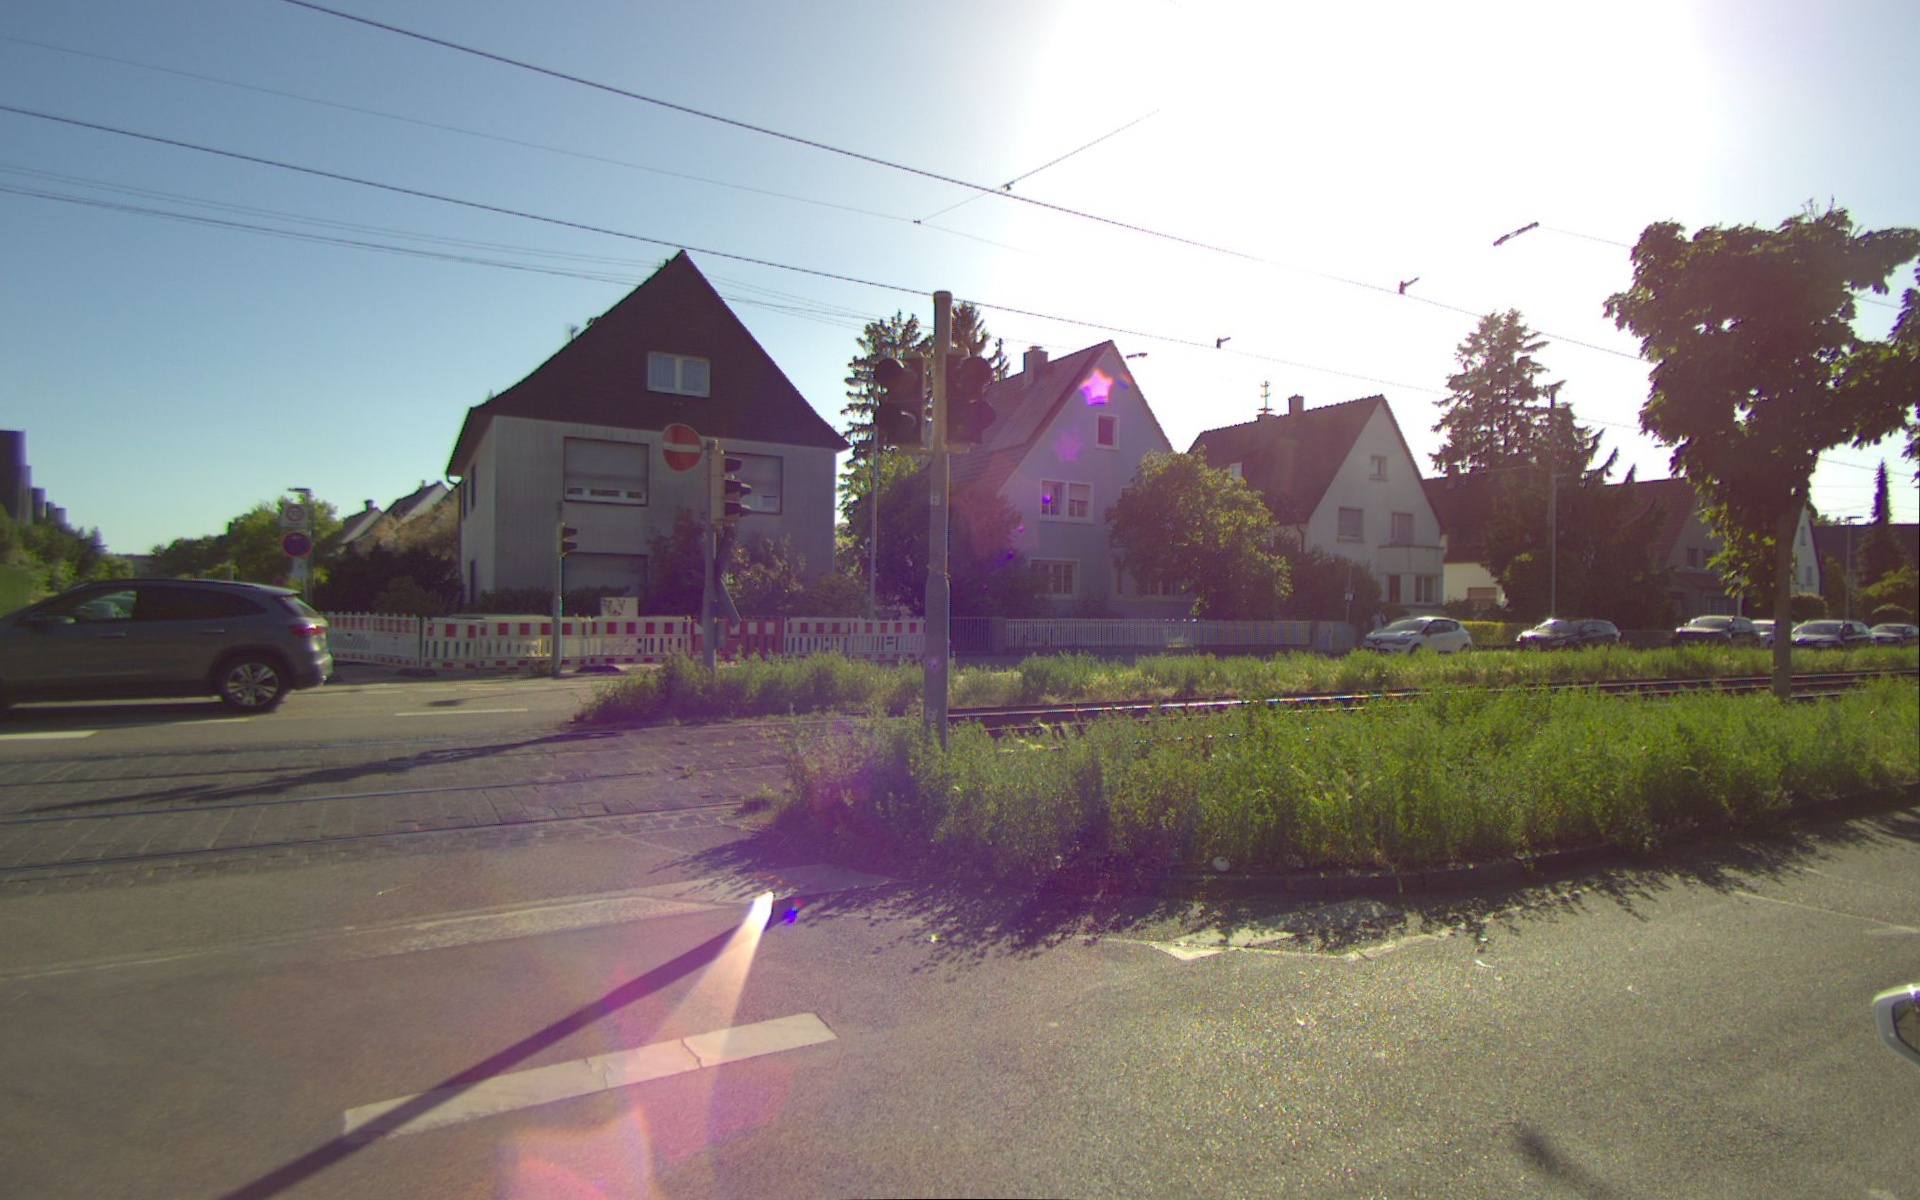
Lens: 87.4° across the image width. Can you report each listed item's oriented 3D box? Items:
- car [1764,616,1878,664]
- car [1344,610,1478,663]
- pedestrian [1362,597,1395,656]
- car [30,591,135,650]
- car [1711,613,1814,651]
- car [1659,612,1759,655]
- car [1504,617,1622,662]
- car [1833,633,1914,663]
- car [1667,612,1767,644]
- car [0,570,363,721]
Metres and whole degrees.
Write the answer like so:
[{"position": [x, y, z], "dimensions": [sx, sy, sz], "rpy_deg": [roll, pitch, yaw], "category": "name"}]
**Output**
[{"position": [31.262, 1.435, 36.433], "dimensions": [4.754, 1.573, 1.652], "rpy_deg": [1, 1, -31], "category": "car"}, {"position": [14.576, 1.159, 32.409], "dimensions": [4.179, 1.562, 1.850], "rpy_deg": [1, 1, -31], "category": "car"}, {"position": [14.735, 0.918, 35.370], "dimensions": [0.763, 2.041, 0.677], "rpy_deg": [1, 1, -30], "category": "pedestrian"}, {"position": [-26.663, 0.585, 30.646], "dimensions": [1.724, 1.570, 3.965], "rpy_deg": [1, 1, -31], "category": "car"}, {"position": [36.232, 1.450, 45.328], "dimensions": [4.723, 1.566, 1.984], "rpy_deg": [1, 1, -30], "category": "car"}, {"position": [31.414, 1.400, 42.117], "dimensions": [4.502, 1.673, 1.739], "rpy_deg": [1, 1, -31], "category": "car"}, {"position": [22.174, 1.437, 36.885], "dimensions": [4.549, 1.485, 1.720], "rpy_deg": [1, 1, -31], "category": "car"}, {"position": [46.159, 2.395, 50.738], "dimensions": [4.179, 1.388, 1.850], "rpy_deg": [1, 1, -31], "category": "car"}, {"position": [40.986, 1.490, 54.474], "dimensions": [1.866, 1.472, 3.900], "rpy_deg": [-1, 2, -29], "category": "car"}, {"position": [-9.946, 0.498, 12.347], "dimensions": [4.421, 1.625, 1.983], "rpy_deg": [1, 1, -31], "category": "car"}]
